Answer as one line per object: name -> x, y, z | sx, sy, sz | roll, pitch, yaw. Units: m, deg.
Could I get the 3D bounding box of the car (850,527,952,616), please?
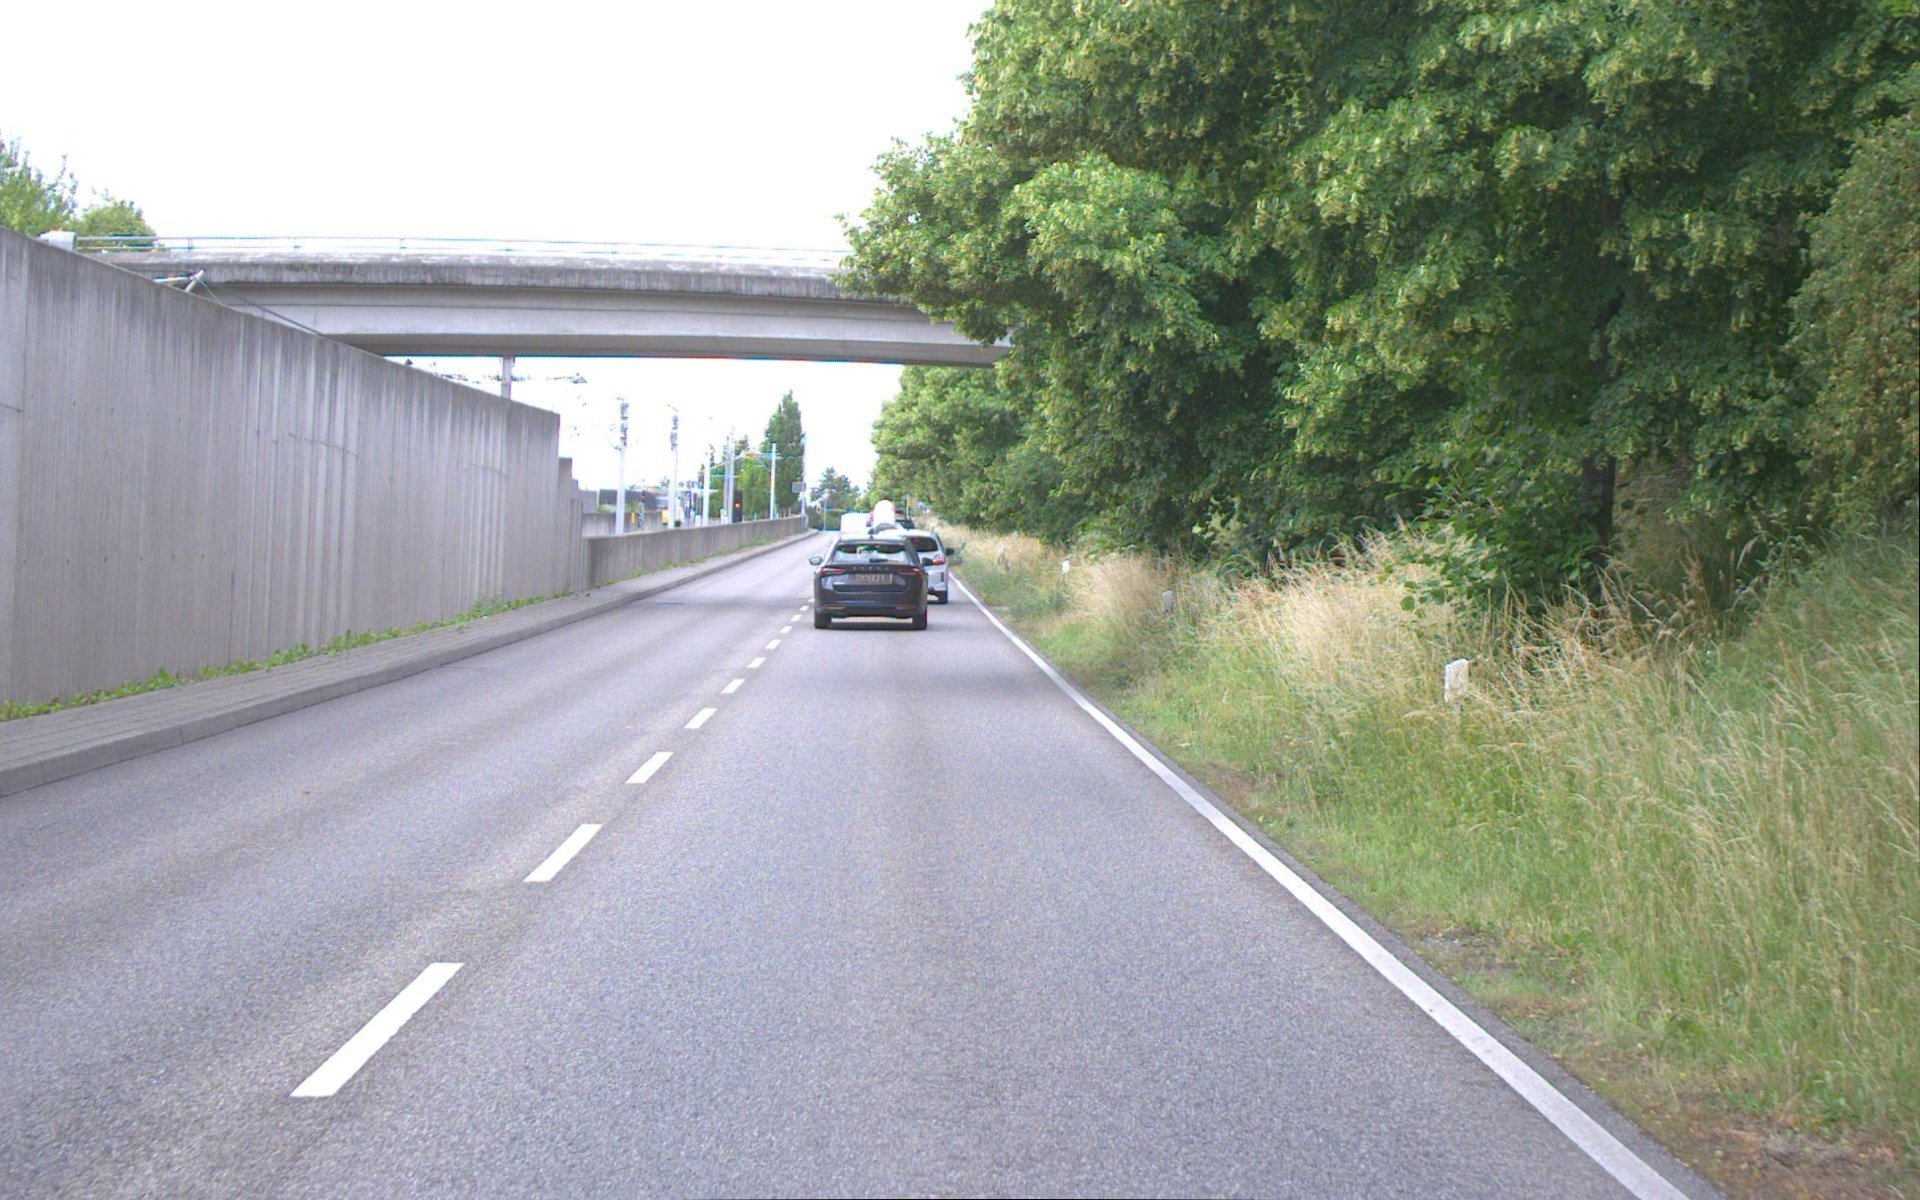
car -> -1.206, -0.603, 70.258 | 1.993, 1.747, 4.000 | 1, 1, -1

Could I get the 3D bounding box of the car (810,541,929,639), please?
car -> -1.412, -0.185, 54.116 | 1.781, 1.463, 4.000 | 1, 1, -1

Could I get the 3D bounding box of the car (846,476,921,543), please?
car -> -2.100, -2.483, 94.782 | 1.993, 1.734, 4.000 | 1, 0, -1
